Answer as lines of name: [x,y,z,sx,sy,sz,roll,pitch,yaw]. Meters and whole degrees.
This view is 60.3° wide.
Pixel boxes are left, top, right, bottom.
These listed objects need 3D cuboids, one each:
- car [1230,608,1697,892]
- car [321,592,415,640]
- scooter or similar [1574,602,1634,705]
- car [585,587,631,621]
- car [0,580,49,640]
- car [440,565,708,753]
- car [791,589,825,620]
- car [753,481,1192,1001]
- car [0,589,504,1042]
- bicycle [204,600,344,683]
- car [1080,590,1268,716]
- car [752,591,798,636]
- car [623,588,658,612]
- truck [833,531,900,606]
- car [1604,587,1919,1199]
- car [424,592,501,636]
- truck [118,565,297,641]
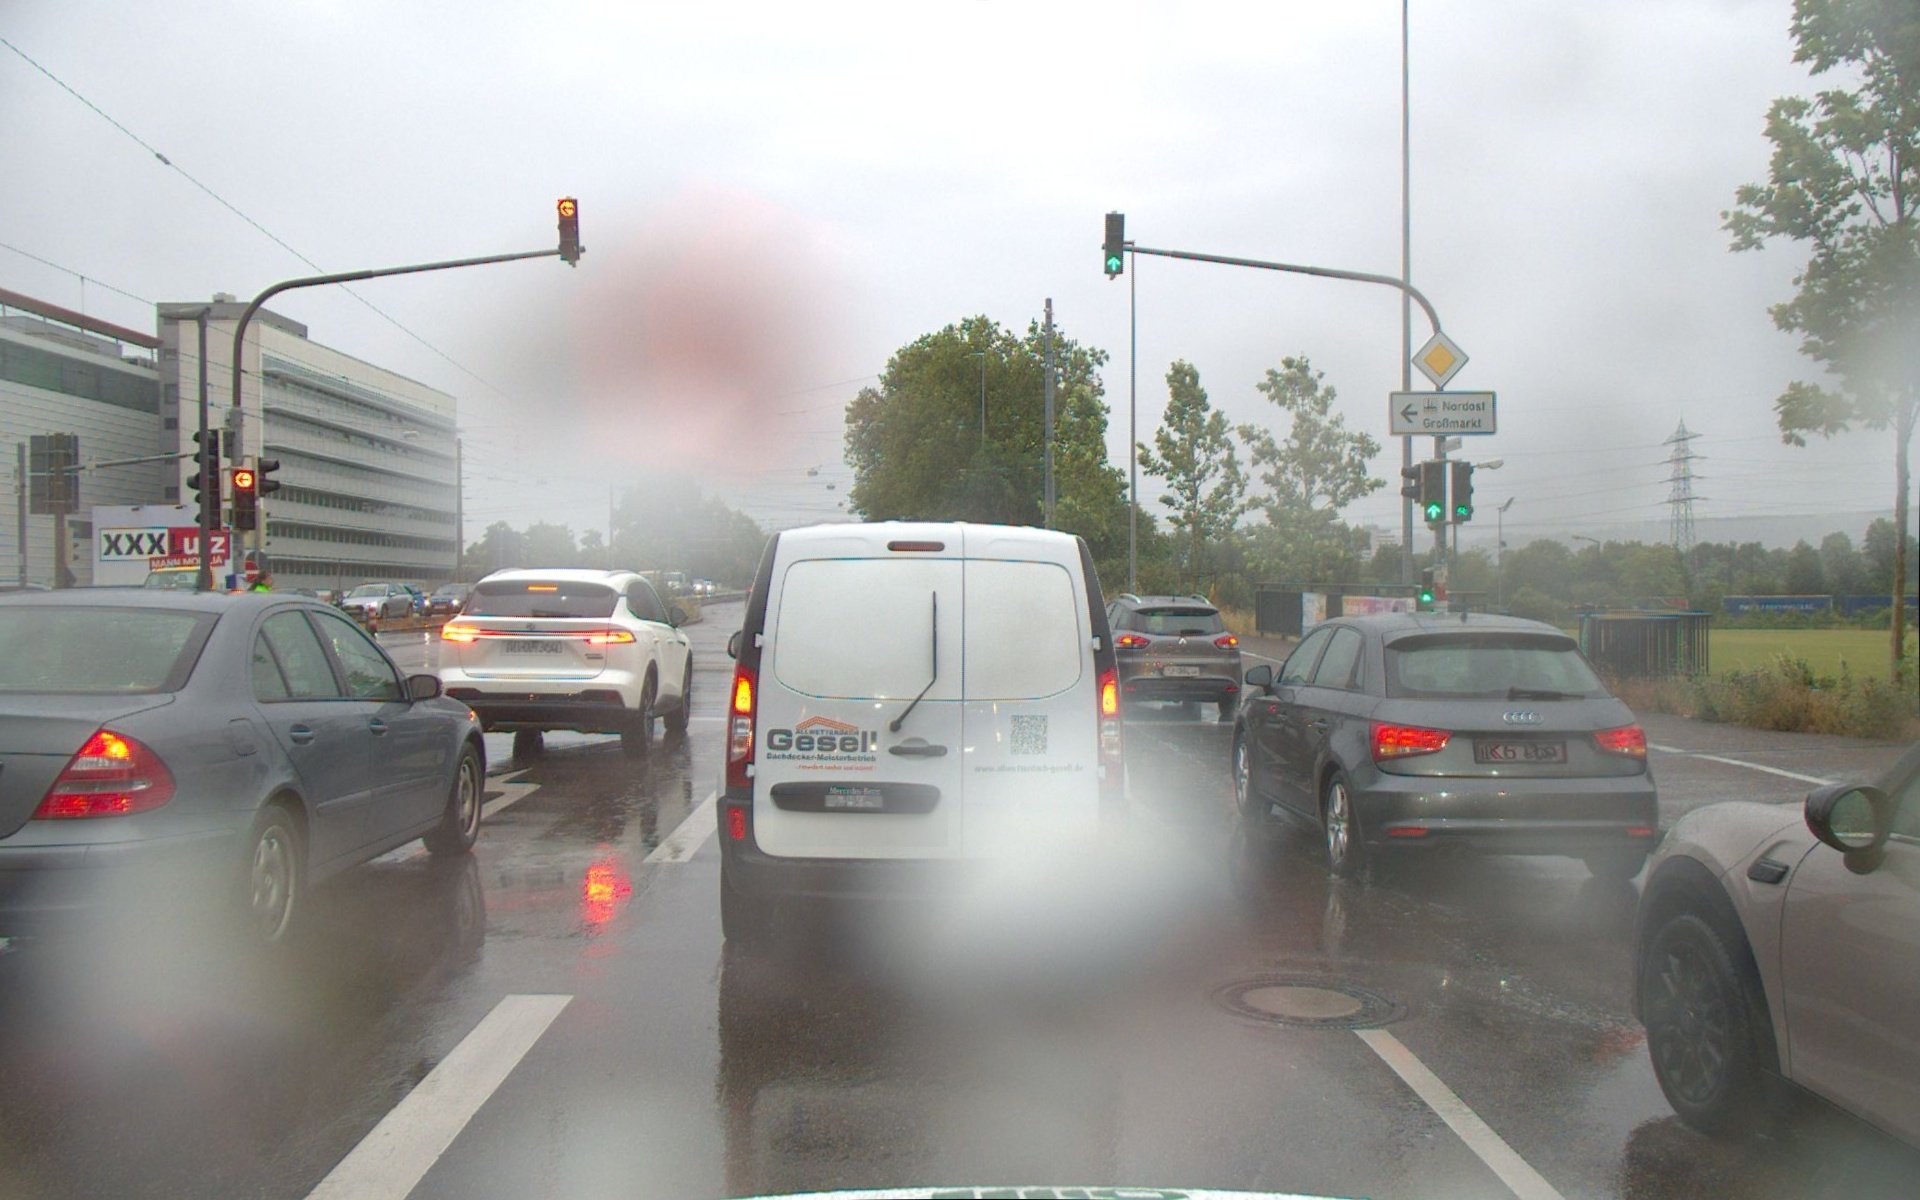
car: [2.775,0.749,9.944,1.596,1.368,3.622,1,0,-2]
car: [-22.040,0.590,61.702,1.853,1.729,4.001,1,0,3]
scooter or similar: [7.610,0.612,19.566,0.240,1.178,1.186,1,0,1]
car: [-22.019,0.264,103.552,1.952,2.049,4.000,1,0,1]
car: [-22.610,0.213,37.508,1.554,1.359,3.832,1,-1,4]
car: [-3.575,0.474,16.067,1.694,1.562,4.296,1,1,-2]
car: [-9.463,0.269,103.428,1.954,1.892,3.997,2,0,-4]
car: [0.020,0.499,7.820,1.534,1.819,3.999,0,0,-1]
car: [-3.561,0.690,7.527,1.726,1.423,4.644,1,-1,-1]
bicycle: [-9.674,0.581,23.338,1.716,1.052,0.414,4,-1,-3]
car: [2.673,0.617,21.496,1.822,1.453,3.806,1,1,-2]
car: [-8.258,0.588,73.557,1.956,1.892,3.994,1,0,-7]
car: [-22.423,0.012,116.192,1.727,1.577,3.680,1,0,1]
truck: [-3.835,-1.212,67.779,2.580,2.865,7.140,1,0,-4]
car: [2.921,0.754,3.397,1.679,1.534,3.622,1,0,-2]
car: [-21.776,0.604,72.525,1.889,1.859,4.002,1,0,4]
truck: [-25.045,0.114,55.503,2.303,2.319,7.634,1,0,2]
